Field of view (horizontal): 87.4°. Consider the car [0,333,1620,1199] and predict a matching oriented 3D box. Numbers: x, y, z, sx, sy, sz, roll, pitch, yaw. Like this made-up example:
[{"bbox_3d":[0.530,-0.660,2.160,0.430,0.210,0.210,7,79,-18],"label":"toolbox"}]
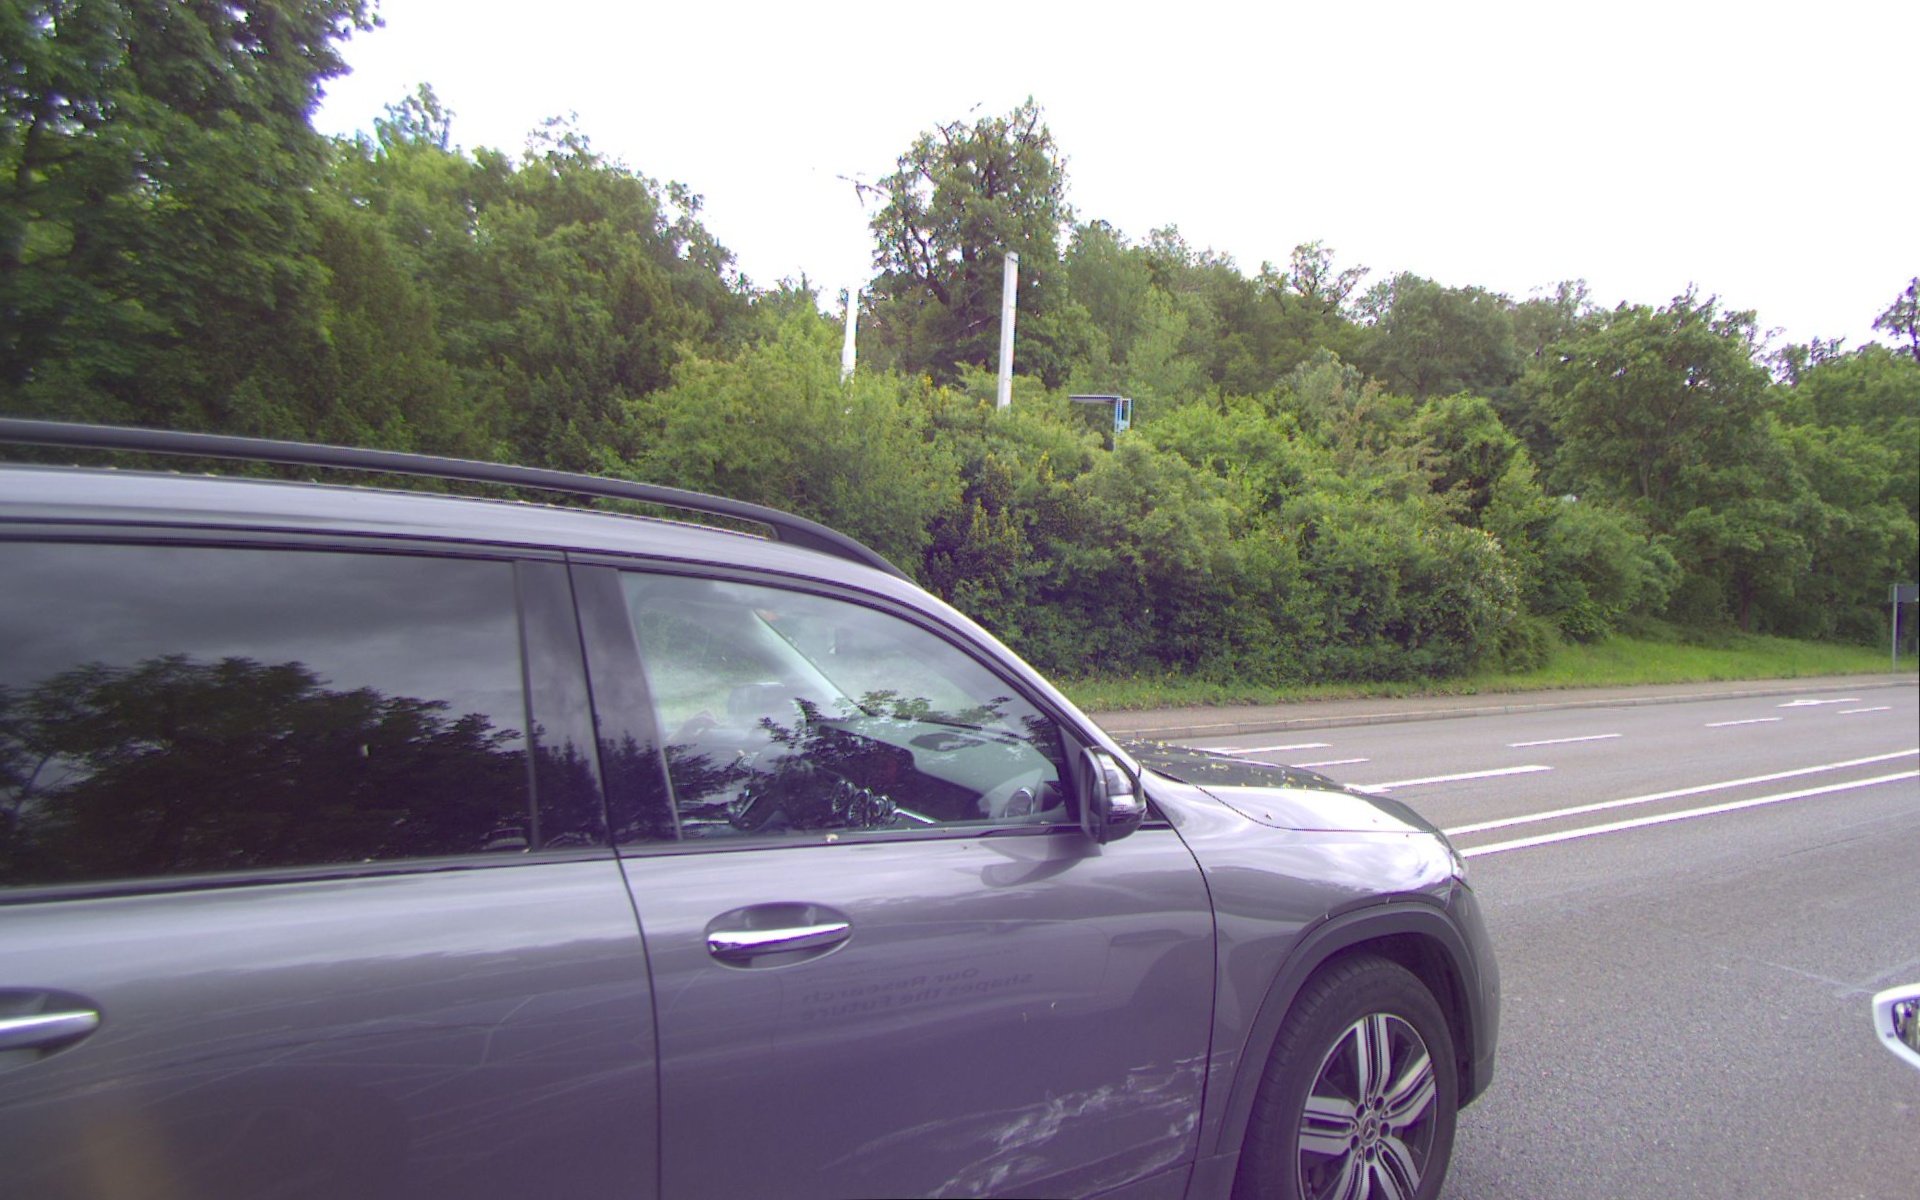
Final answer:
[{"bbox_3d":[-0.645,0.611,2.173,4.309,1.673,1.839,1,-1,-32],"label":"car"}]
